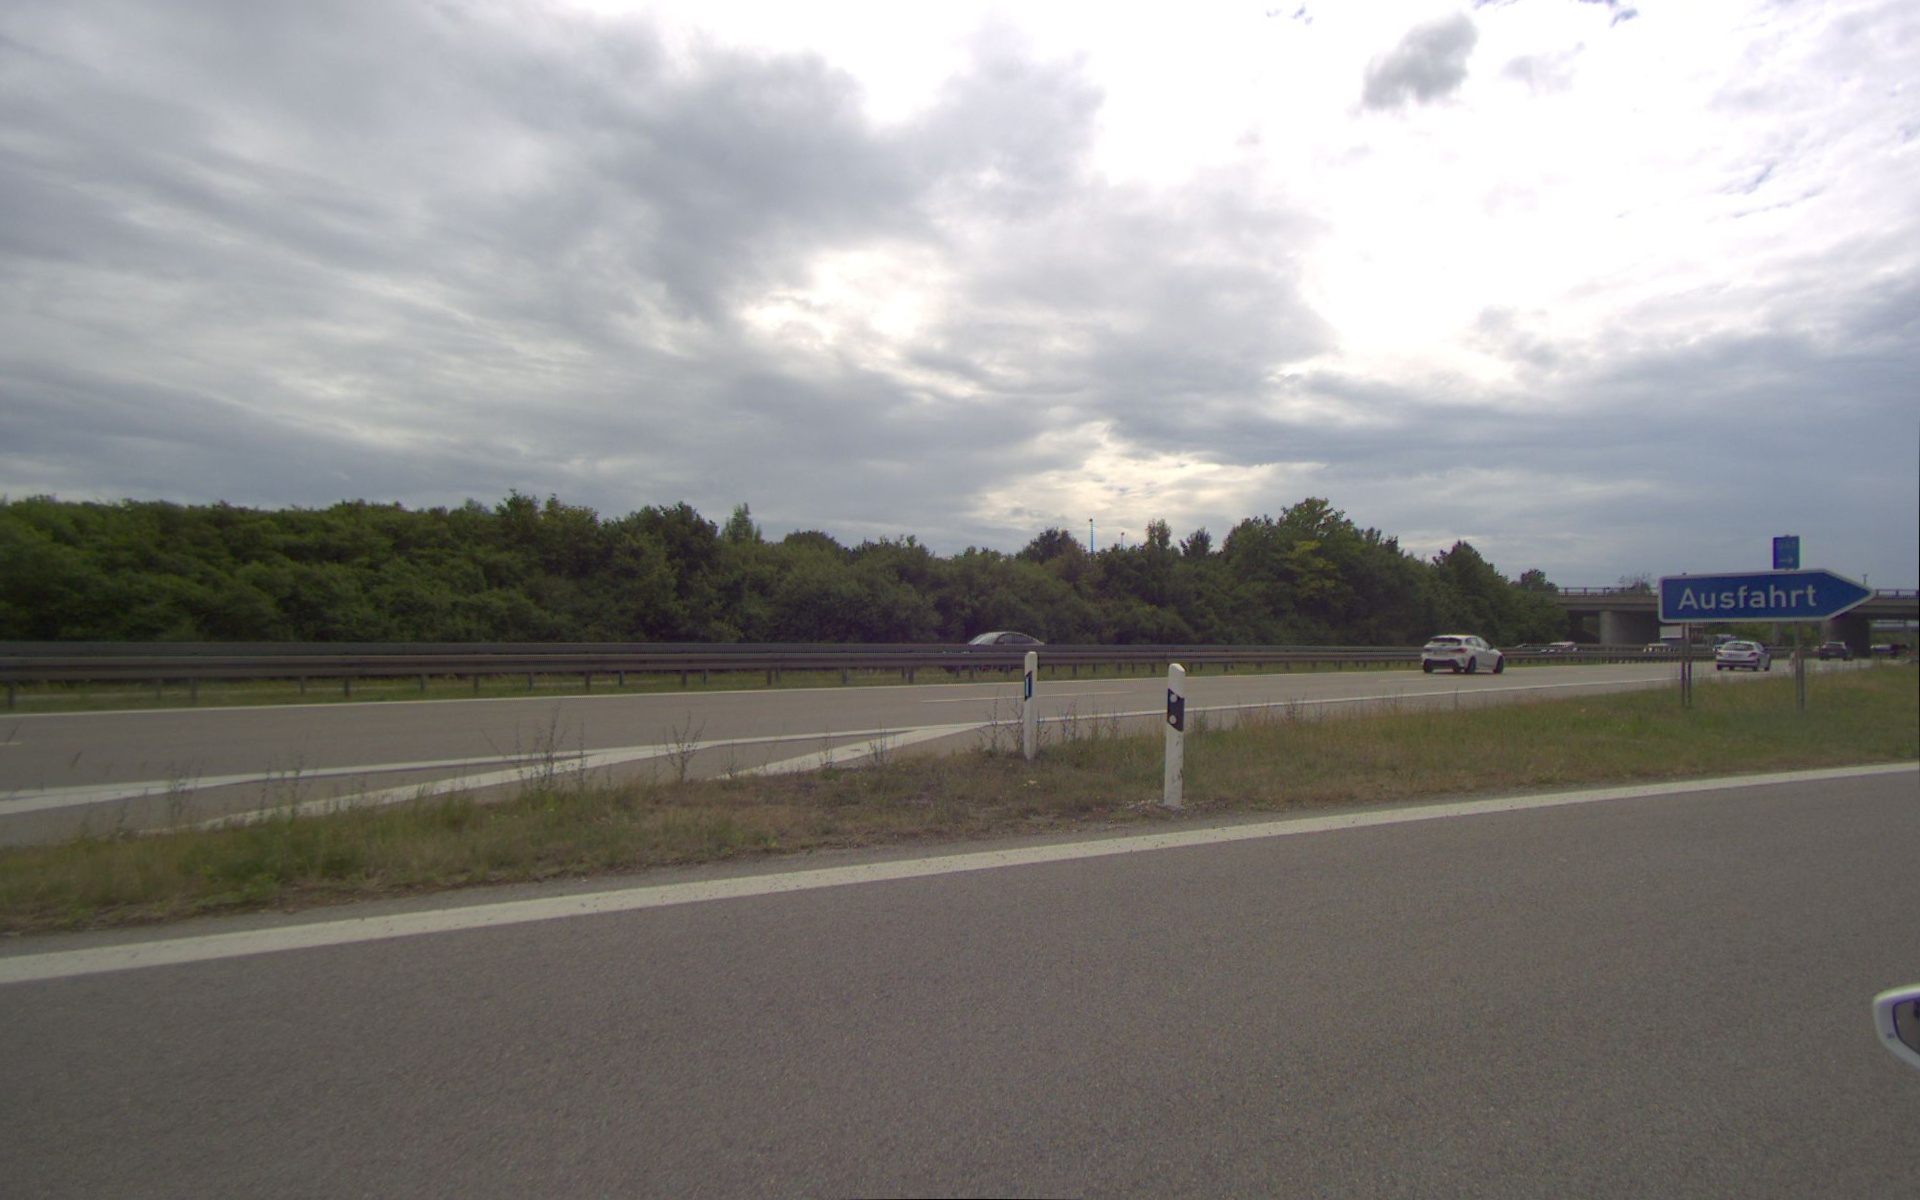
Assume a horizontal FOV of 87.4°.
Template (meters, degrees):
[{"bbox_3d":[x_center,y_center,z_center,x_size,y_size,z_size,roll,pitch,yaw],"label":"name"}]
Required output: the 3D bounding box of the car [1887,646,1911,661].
[{"bbox_3d":[116.479,6.615,124.577,4.304,1.781,1.828,3,-2,-42],"label":"car"}]

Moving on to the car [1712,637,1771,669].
[{"bbox_3d":[39.725,2.692,51.031,3.970,1.539,1.702,3,-3,-42],"label":"car"}]

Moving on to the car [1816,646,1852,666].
[{"bbox_3d":[80.767,5.175,92.808,4.793,1.766,1.976,3,-3,-42],"label":"car"}]

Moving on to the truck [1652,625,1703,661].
[{"bbox_3d":[76.550,4.558,107.079,8.136,3.694,2.734,3,-2,-42],"label":"truck"}]

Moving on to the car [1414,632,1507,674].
[{"bbox_3d":[19.346,2.027,38.737,4.348,1.472,1.819,3,-2,-43],"label":"car"}]

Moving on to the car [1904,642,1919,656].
[{"bbox_3d":[130.103,6.645,136.659,3.969,1.834,1.976,2,-2,-41],"label":"car"}]
